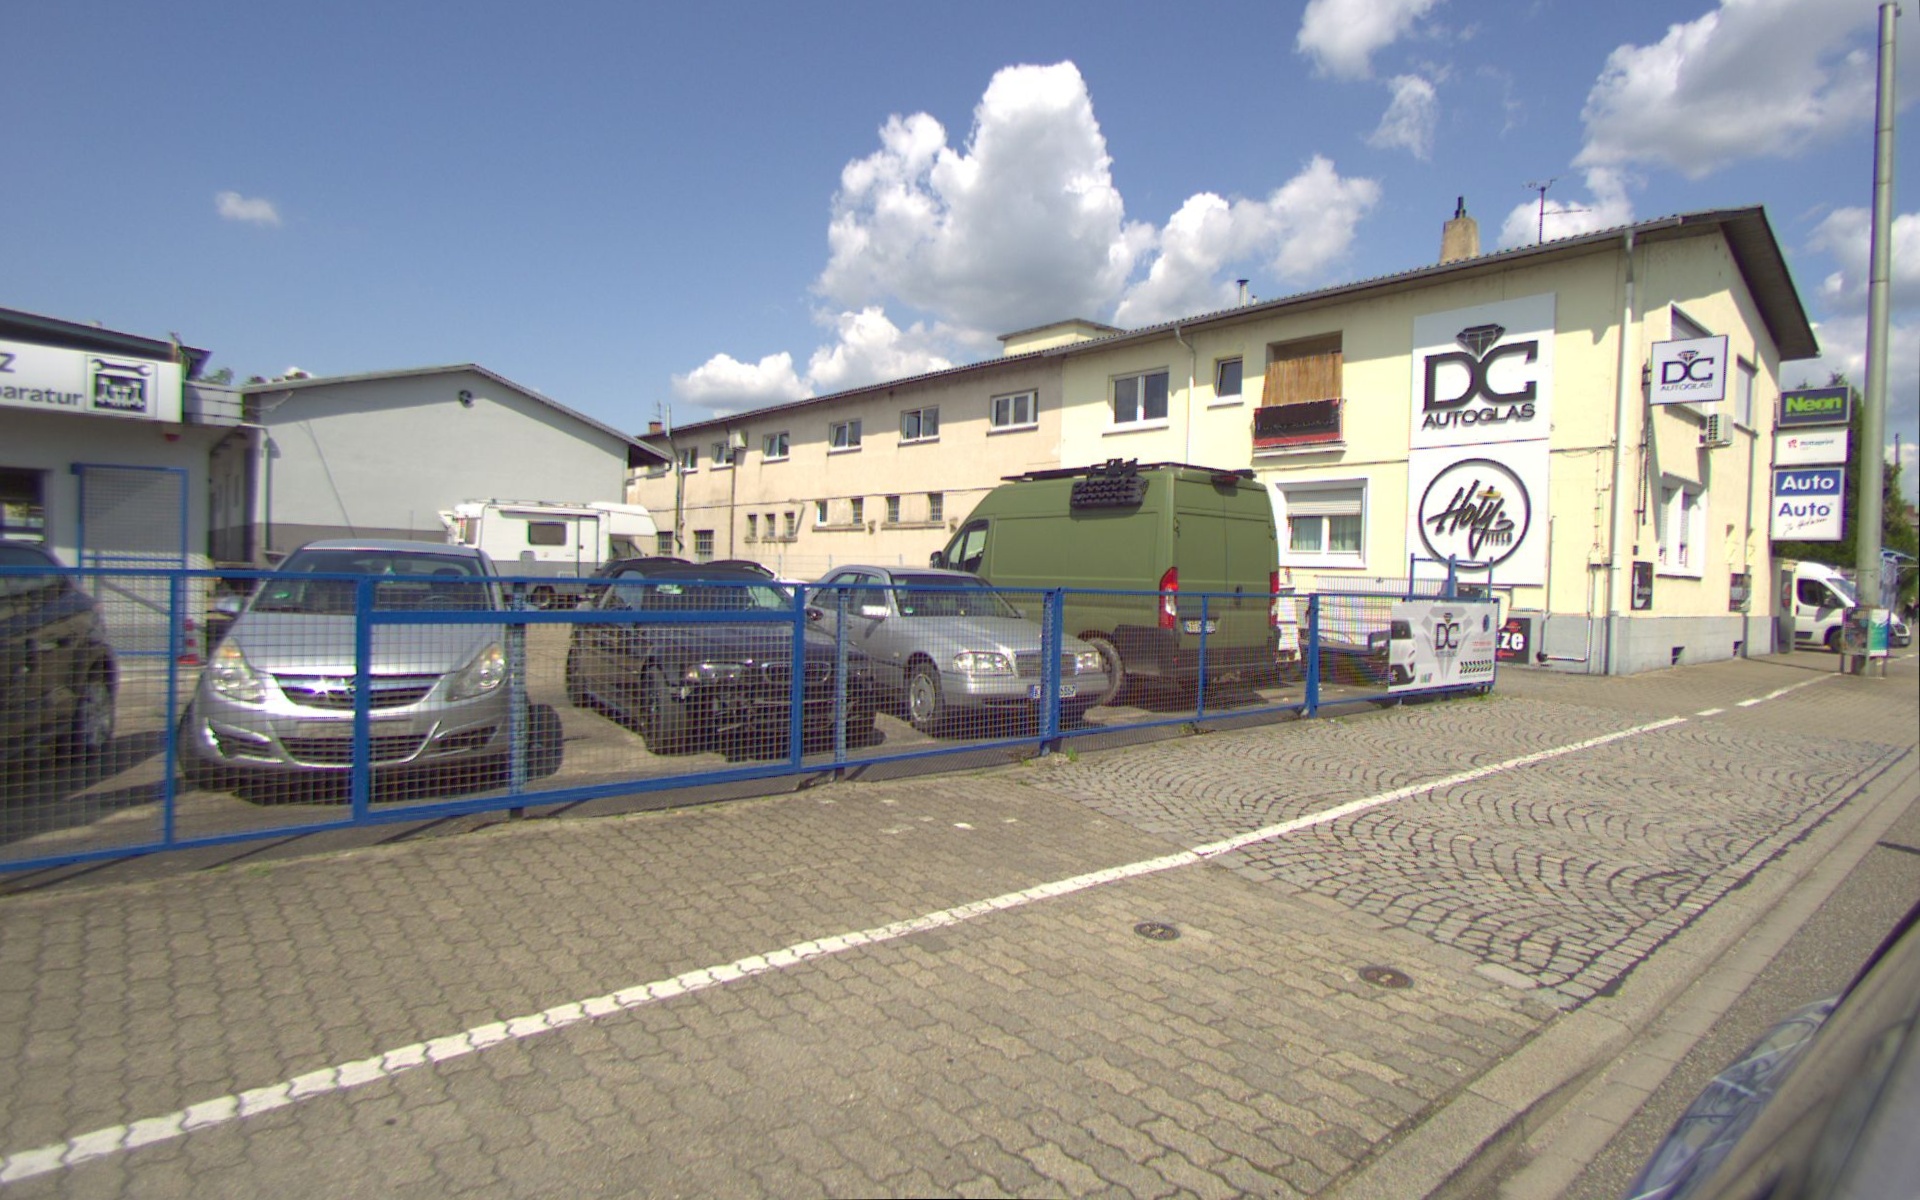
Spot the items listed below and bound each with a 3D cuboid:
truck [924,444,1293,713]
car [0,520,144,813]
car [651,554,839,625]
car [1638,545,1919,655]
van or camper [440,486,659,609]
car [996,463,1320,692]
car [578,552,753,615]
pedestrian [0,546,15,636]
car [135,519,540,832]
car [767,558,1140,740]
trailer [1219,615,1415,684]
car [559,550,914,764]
[{"bbox_3d":[1.615,-0.288,12.144,2.033,2.639,3.996,1,2,-40],"label":"truck"},{"bbox_3d":[-5.755,0.321,5.032,1.685,1.497,4.012,1,2,-25],"label":"car"},{"bbox_3d":[-4.934,-0.249,23.518,3.939,1.497,1.719,0,2,-41],"label":"car"},{"bbox_3d":[22.447,-0.126,27.742,1.963,2.404,5.989,1,5,-38],"label":"car"},{"bbox_3d":[-11.016,-1.326,27.366,4.971,2.999,2.284,0,2,-42],"label":"van or camper"},{"bbox_3d":[2.604,-0.349,14.141,1.771,2.702,4.208,1,2,-40],"label":"car"},{"bbox_3d":[-7.487,-0.413,25.888,3.939,1.497,1.719,0,2,-41],"label":"car"},{"bbox_3d":[-13.267,-0.131,13.839,0.479,1.228,0.501,1,1,-42],"label":"pedestrian"},{"bbox_3d":[-3.959,0.299,7.100,1.766,1.497,4.158,1,2,-24],"label":"car"},{"bbox_3d":[-0.304,0.316,10.204,1.768,1.413,4.216,1,2,-33],"label":"car"},{"bbox_3d":[5.074,0.666,14.527,1.245,0.776,2.330,0,2,-39],"label":"trailer"},{"bbox_3d":[-2.133,0.307,8.744,1.768,1.403,3.837,1,2,-32],"label":"car"}]
